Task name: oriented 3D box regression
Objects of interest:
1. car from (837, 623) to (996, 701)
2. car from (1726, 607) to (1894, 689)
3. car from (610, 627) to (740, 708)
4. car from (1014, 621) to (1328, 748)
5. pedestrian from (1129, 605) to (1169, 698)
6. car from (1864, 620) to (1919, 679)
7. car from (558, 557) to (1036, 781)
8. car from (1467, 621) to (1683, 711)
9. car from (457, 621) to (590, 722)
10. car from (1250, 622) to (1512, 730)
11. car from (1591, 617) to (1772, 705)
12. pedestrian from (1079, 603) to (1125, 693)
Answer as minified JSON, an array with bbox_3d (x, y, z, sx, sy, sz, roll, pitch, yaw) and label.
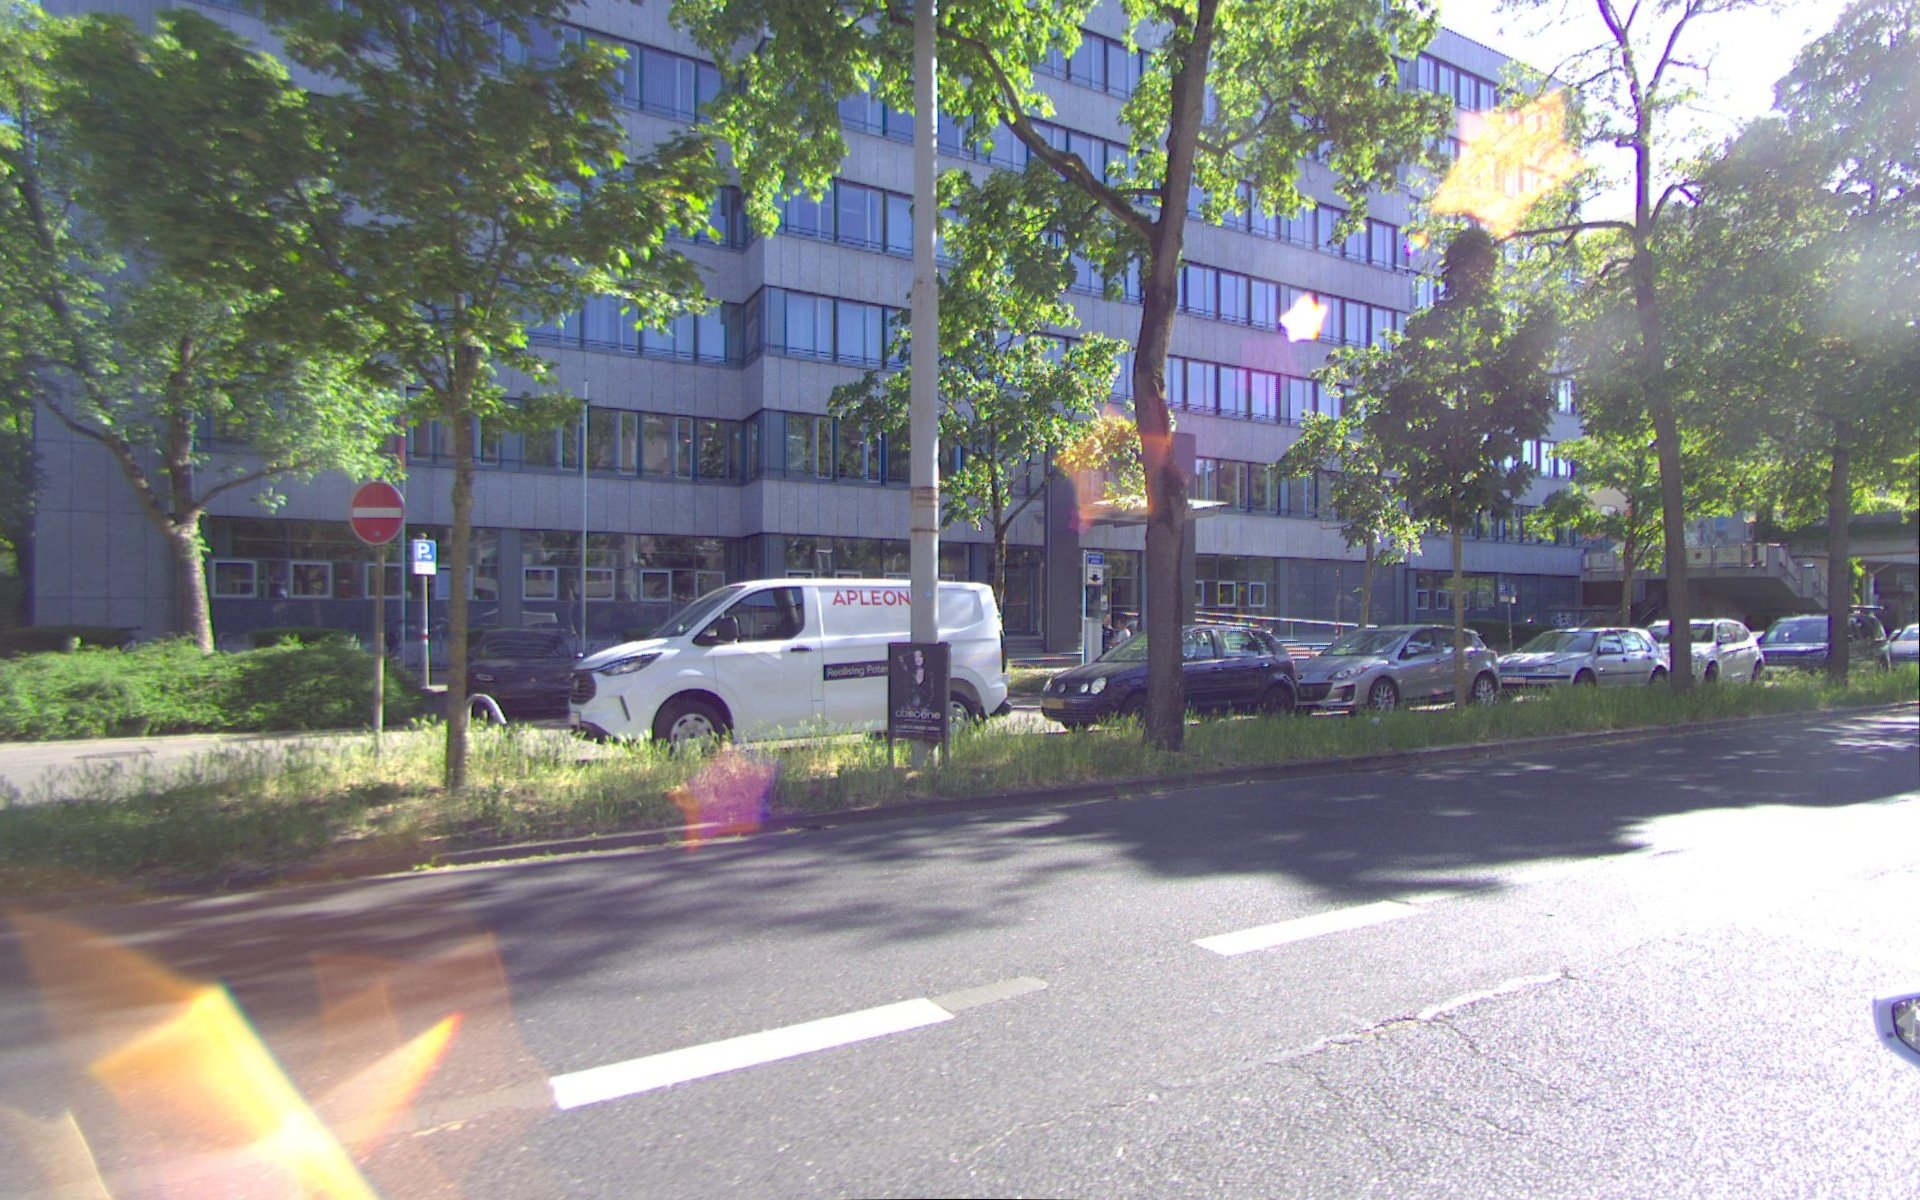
[{"bbox_3d":[-1.114,1.345,23.327,1.841,1.543,4.281,0,0,-32],"label":"car"},{"bbox_3d":[21.179,1.122,24.998,4.509,1.874,1.846,1,0,-31],"label":"car"},{"bbox_3d":[-6.366,1.378,22.040,1.913,1.462,4.596,0,0,-27],"label":"car"},{"bbox_3d":[3.052,1.094,14.344,4.265,1.543,1.774,1,0,-28],"label":"car"},{"bbox_3d":[4.442,1.195,23.630,0.776,2.121,0.774,2,0,3],"label":"pedestrian"},{"bbox_3d":[27.984,1.391,28.882,3.825,1.589,1.847,1,0,-30],"label":"car"},{"bbox_3d":[-1.773,0.719,11.684,5.140,2.103,1.970,1,-3,-33],"label":"car"},{"bbox_3d":[11.969,1.196,19.523,4.013,1.543,1.848,1,0,-29],"label":"car"},{"bbox_3d":[-8.047,1.189,18.476,1.981,1.533,4.656,0,0,-25],"label":"car"},{"bbox_3d":[7.016,1.155,16.652,4.268,1.543,1.847,1,0,-30],"label":"car"},{"bbox_3d":[15.844,1.243,21.984,4.619,1.706,1.843,1,0,-36],"label":"car"},{"bbox_3d":[3.409,1.146,24.134,0.761,2.121,0.788,1,1,-18],"label":"pedestrian"}]
